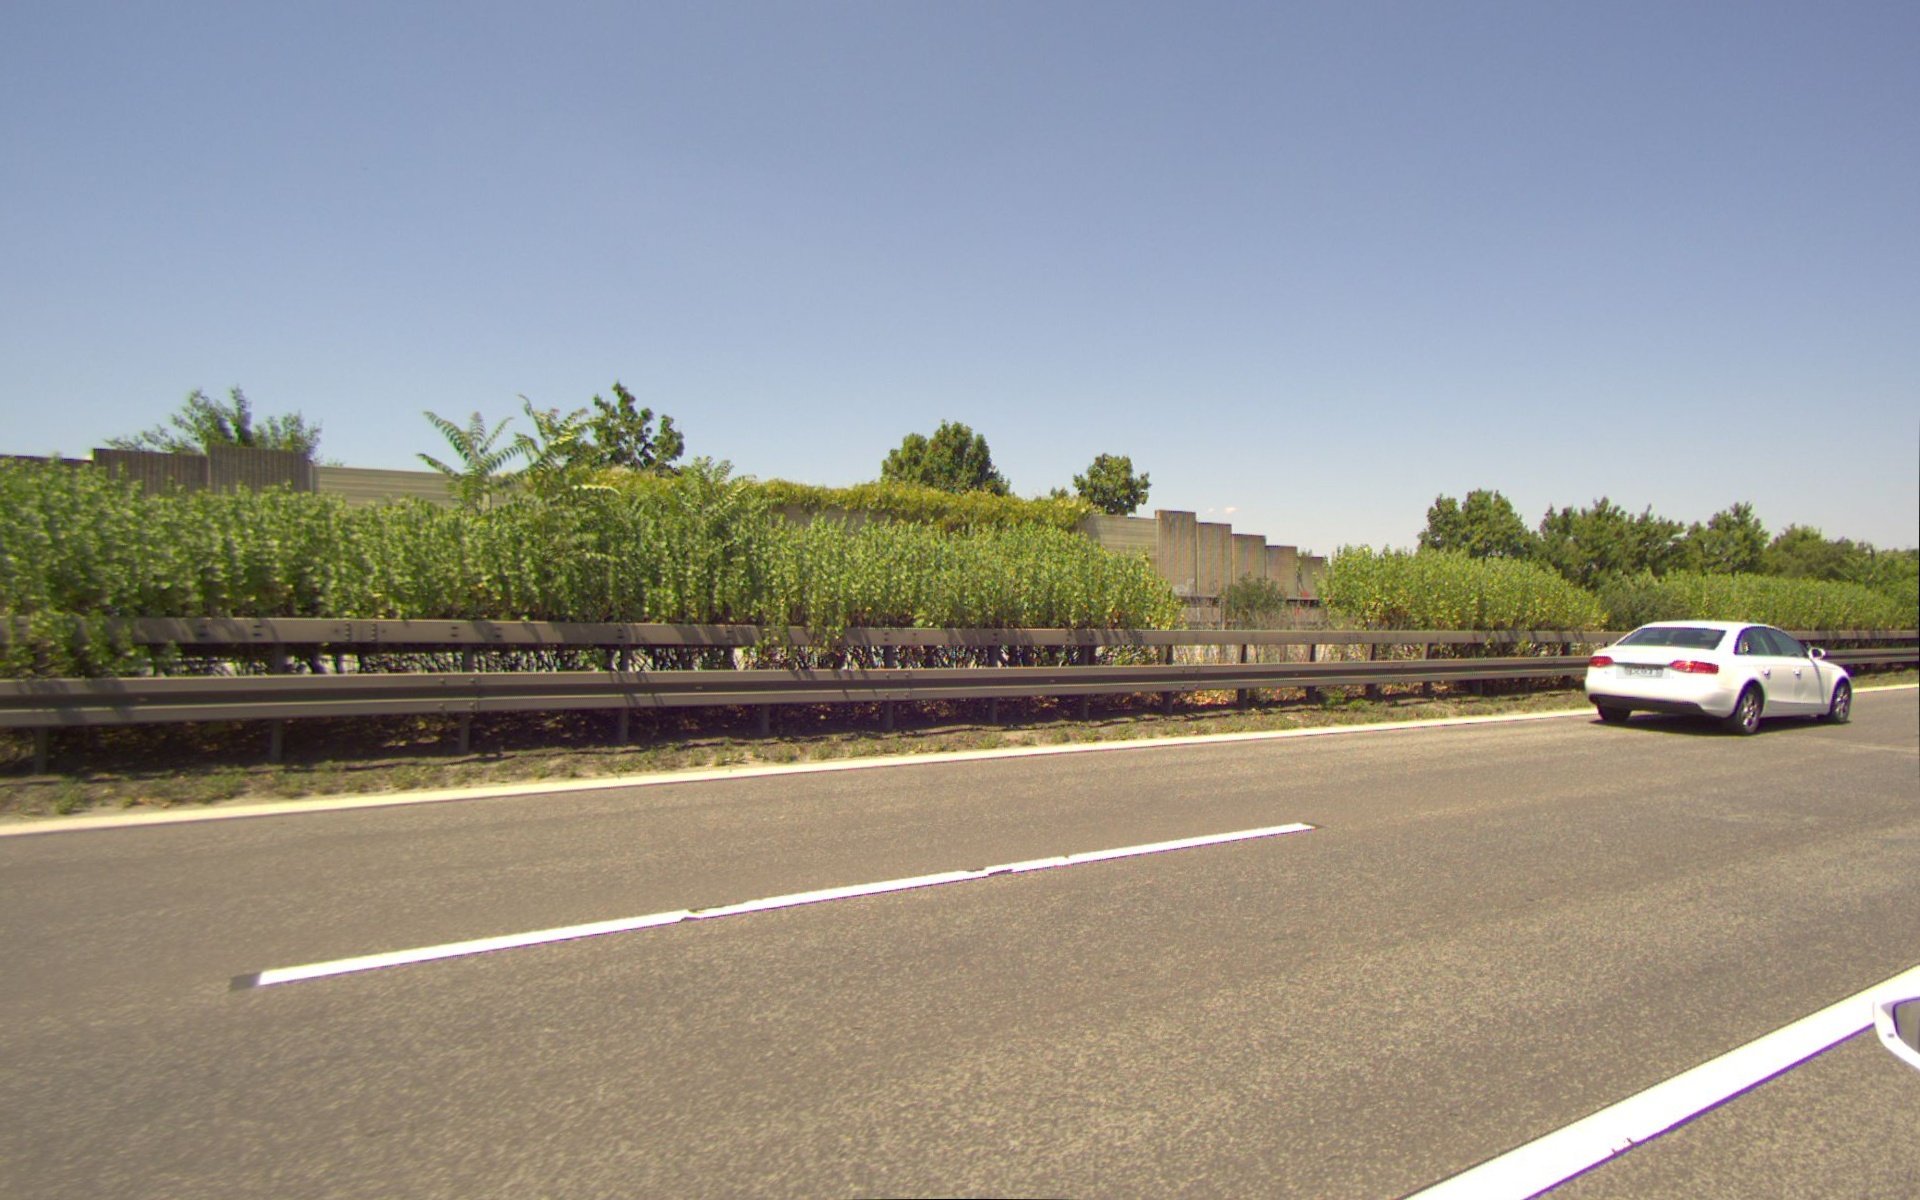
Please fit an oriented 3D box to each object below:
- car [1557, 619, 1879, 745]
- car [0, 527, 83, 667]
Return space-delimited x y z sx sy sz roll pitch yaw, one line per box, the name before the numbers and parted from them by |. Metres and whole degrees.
car | 10.814 1.051 14.222 5.066 1.460 1.867 1 0 -31
car | -17.419 -0.076 16.601 4.071 2.289 1.866 1 0 -30
